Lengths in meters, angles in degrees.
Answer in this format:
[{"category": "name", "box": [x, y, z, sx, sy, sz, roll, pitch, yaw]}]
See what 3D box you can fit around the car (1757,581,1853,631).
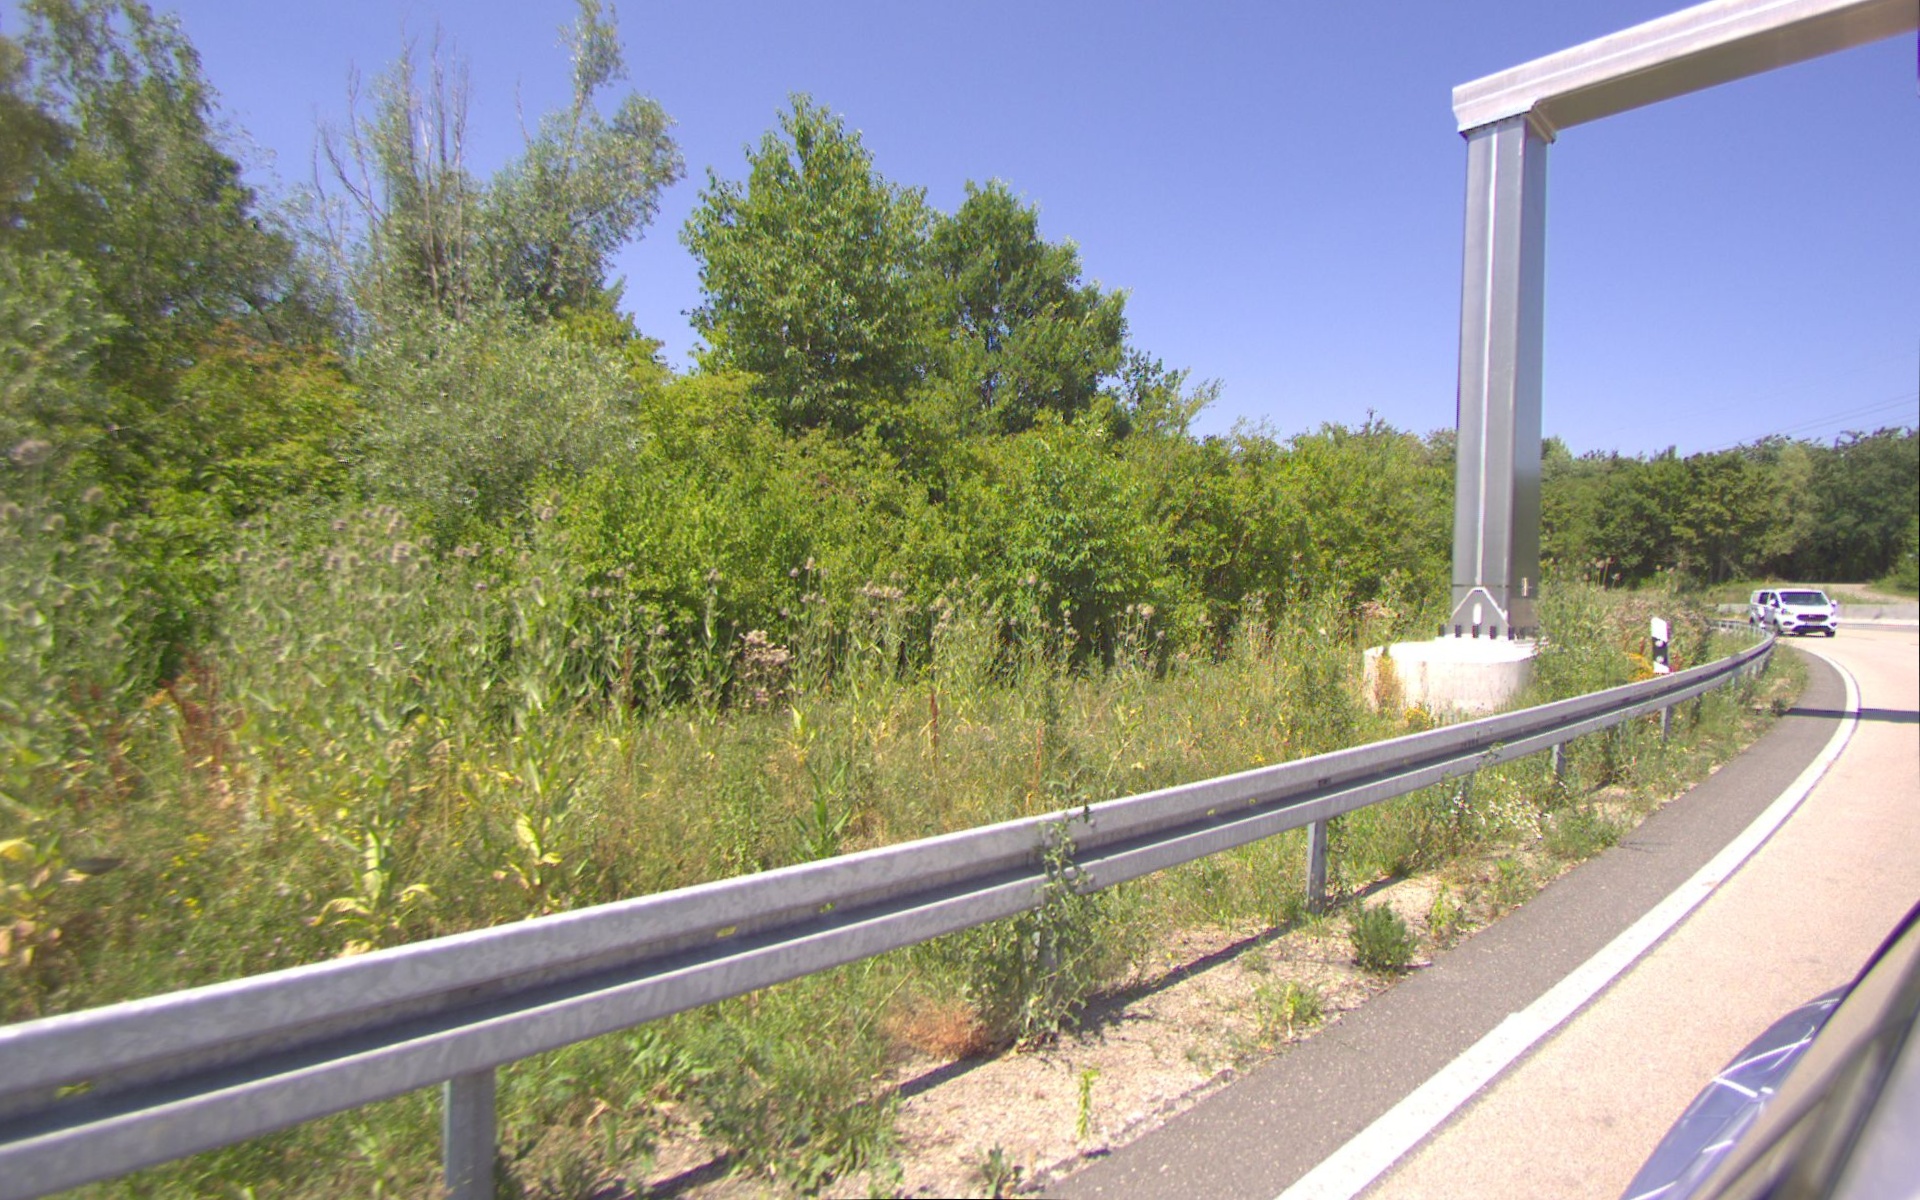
[{"category": "car", "box": [36.110, 0.221, 43.408, 2.043, 2.039, 4.995, -1, 0, 27]}]
